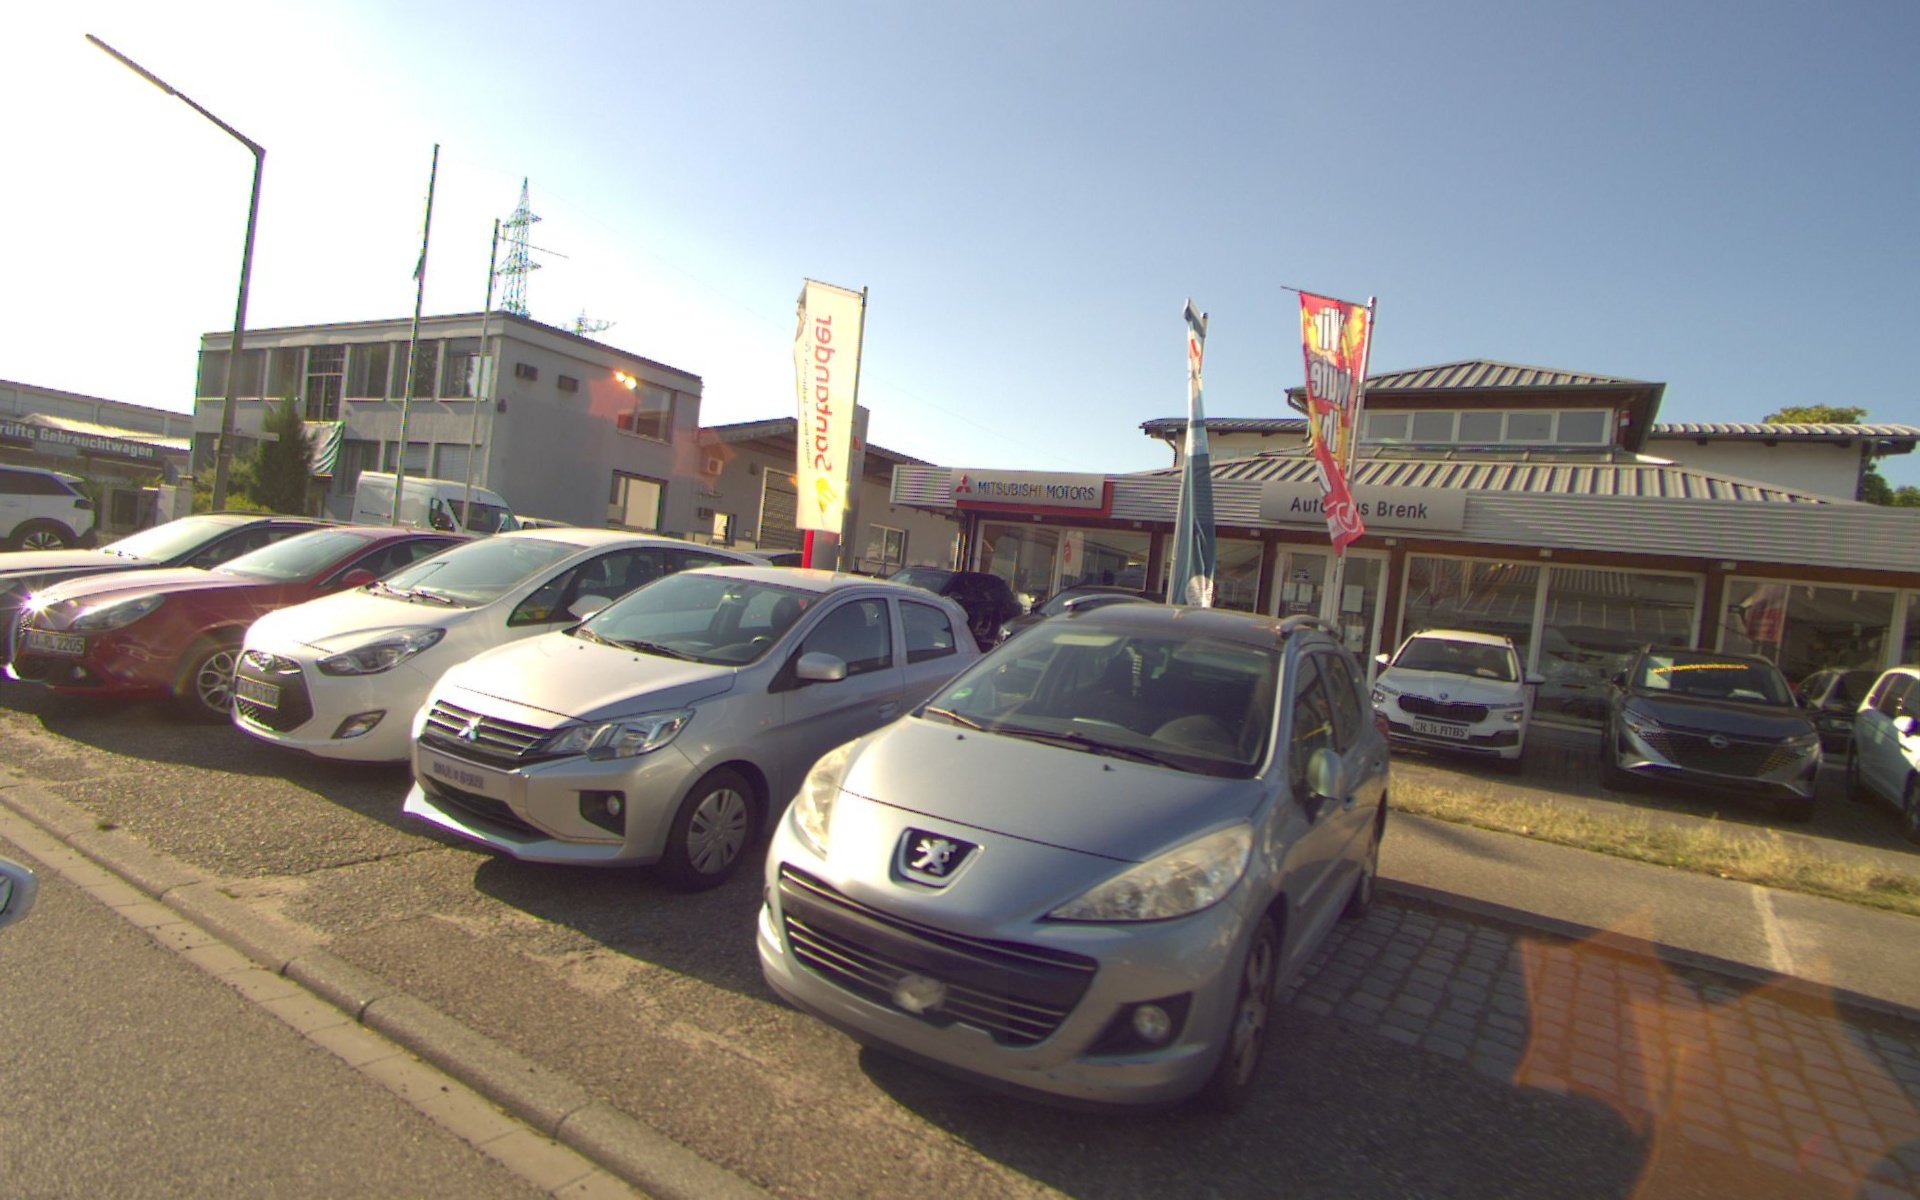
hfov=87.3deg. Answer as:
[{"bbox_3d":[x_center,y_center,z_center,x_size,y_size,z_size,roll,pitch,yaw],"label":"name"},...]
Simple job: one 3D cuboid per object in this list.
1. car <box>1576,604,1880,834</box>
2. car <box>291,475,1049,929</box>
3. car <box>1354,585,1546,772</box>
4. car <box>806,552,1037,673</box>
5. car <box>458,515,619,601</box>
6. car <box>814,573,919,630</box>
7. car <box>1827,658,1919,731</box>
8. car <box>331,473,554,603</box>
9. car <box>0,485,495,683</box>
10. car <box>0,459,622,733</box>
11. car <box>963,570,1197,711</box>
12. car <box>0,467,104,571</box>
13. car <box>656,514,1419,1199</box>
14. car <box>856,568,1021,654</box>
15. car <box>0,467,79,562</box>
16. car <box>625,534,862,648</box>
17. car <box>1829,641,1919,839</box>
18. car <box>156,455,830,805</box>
[{"bbox_3d":[8.504,1.131,11.583,2.165,1.925,3.798,8,4,31],"label":"car"},{"bbox_3d":[-1.260,0.426,6.101,2.023,1.638,4.115,7,1,28],"label":"car"},{"bbox_3d":[6.411,0.965,12.934,1.757,1.921,3.907,5,-1,31],"label":"car"},{"bbox_3d":[-0.535,0.234,17.292,1.967,1.681,3.988,7,2,32],"label":"car"},{"bbox_3d":[-11.494,-1.147,27.407,3.934,1.820,1.997,7,-1,32],"label":"car"},{"bbox_3d":[-3.582,0.105,39.291,1.967,1.704,3.994,7,-1,31],"label":"car"},{"bbox_3d":[26.615,2.738,27.444,1.980,1.759,3.967,8,-1,-31],"label":"car"},{"bbox_3d":[-13.231,-1.617,25.572,6.035,2.657,1.996,7,-1,32],"label":"car"},{"bbox_3d":[-7.090,-0.154,9.488,2.100,1.455,4.439,7,2,31],"label":"car"},{"bbox_3d":[-5.134,0.082,8.384,1.716,1.624,4.253,7,-1,28],"label":"car"},{"bbox_3d":[1.994,0.589,15.567,1.967,1.719,3.988,7,2,32],"label":"car"},{"bbox_3d":[-16.790,-1.426,15.843,2.164,1.619,4.556,6,3,29],"label":"car"},{"bbox_3d":[0.838,0.688,4.503,1.835,1.608,3.991,7,2,28],"label":"car"},{"bbox_3d":[-0.474,0.297,25.261,3.803,1.600,2.001,7,-1,5],"label":"car"},{"bbox_3d":[-18.639,-1.701,17.741,1.888,1.645,4.250,7,2,30],"label":"car"},{"bbox_3d":[-3.981,-0.107,19.142,1.967,1.795,4.145,7,2,32],"label":"car"},{"bbox_3d":[10.874,1.562,10.225,2.165,1.922,3.939,10,1,31],"label":"car"},{"bbox_3d":[-3.001,0.255,7.460,1.851,1.760,4.119,7,-1,28],"label":"car"}]
